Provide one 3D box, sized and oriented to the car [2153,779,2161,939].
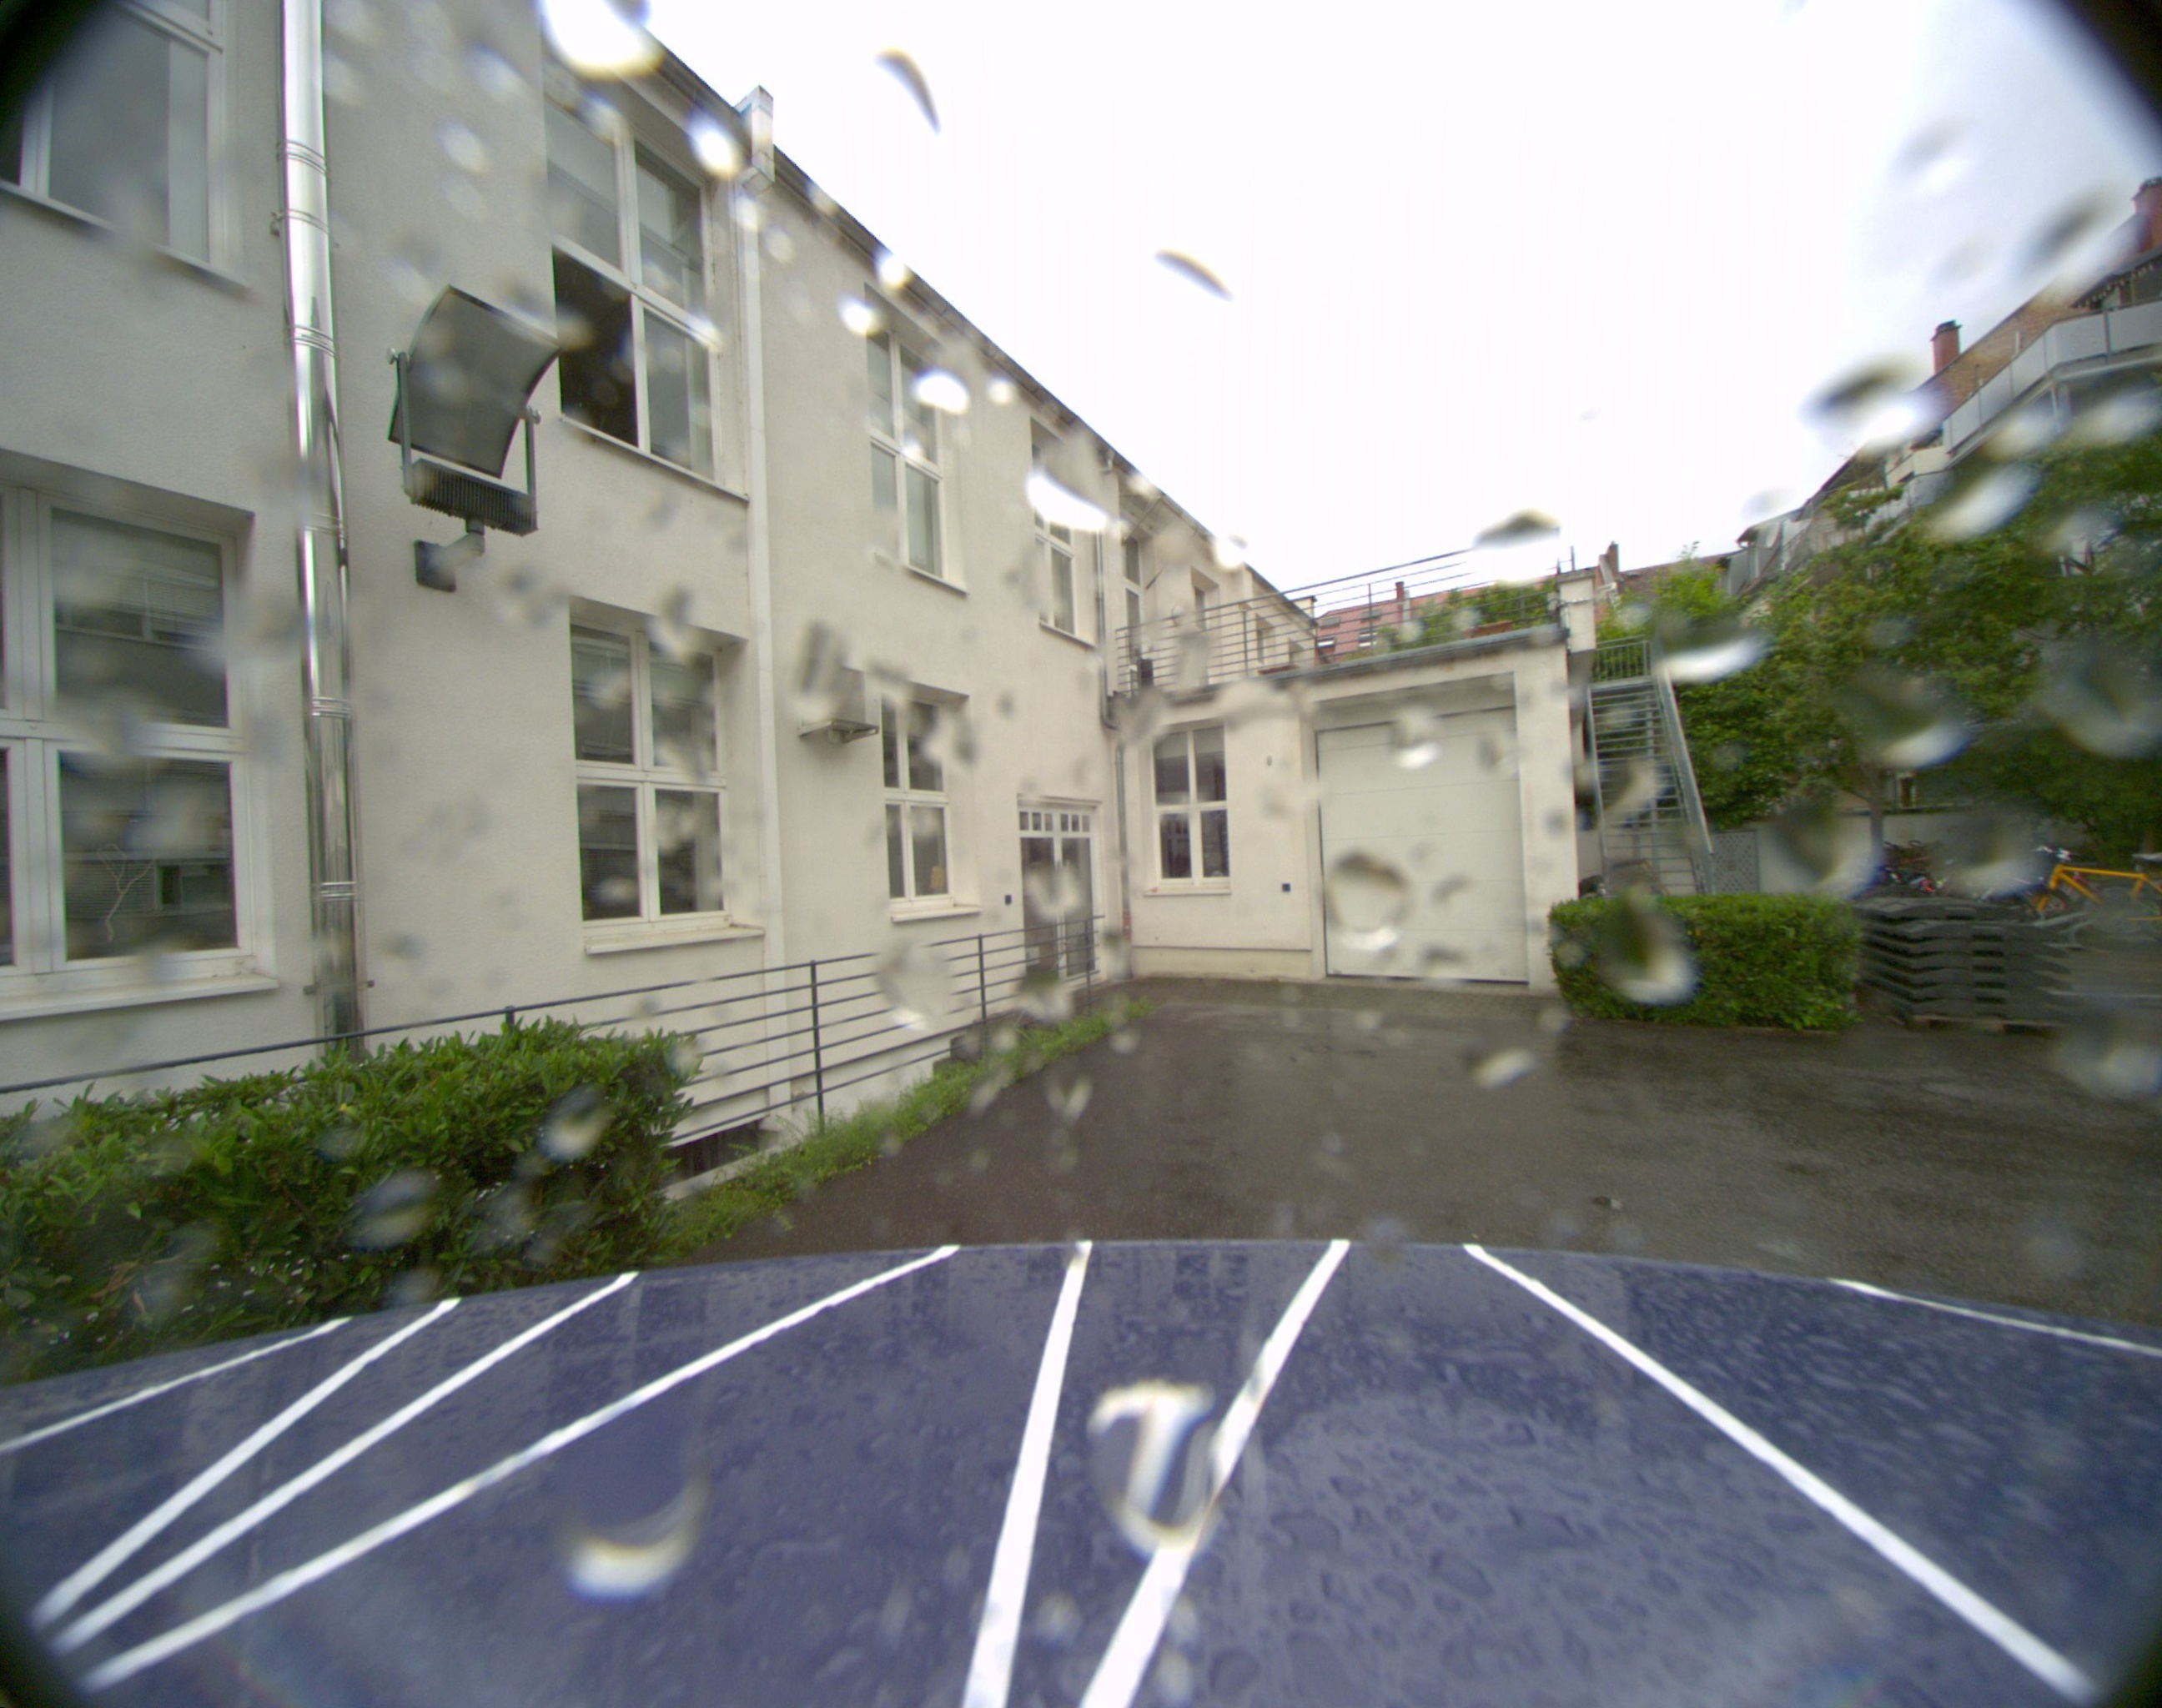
[{"bbox_3d":[6.412,0.507,1.491,4.512,1.886,2.050,-3,-1,24],"label":"car"}]
